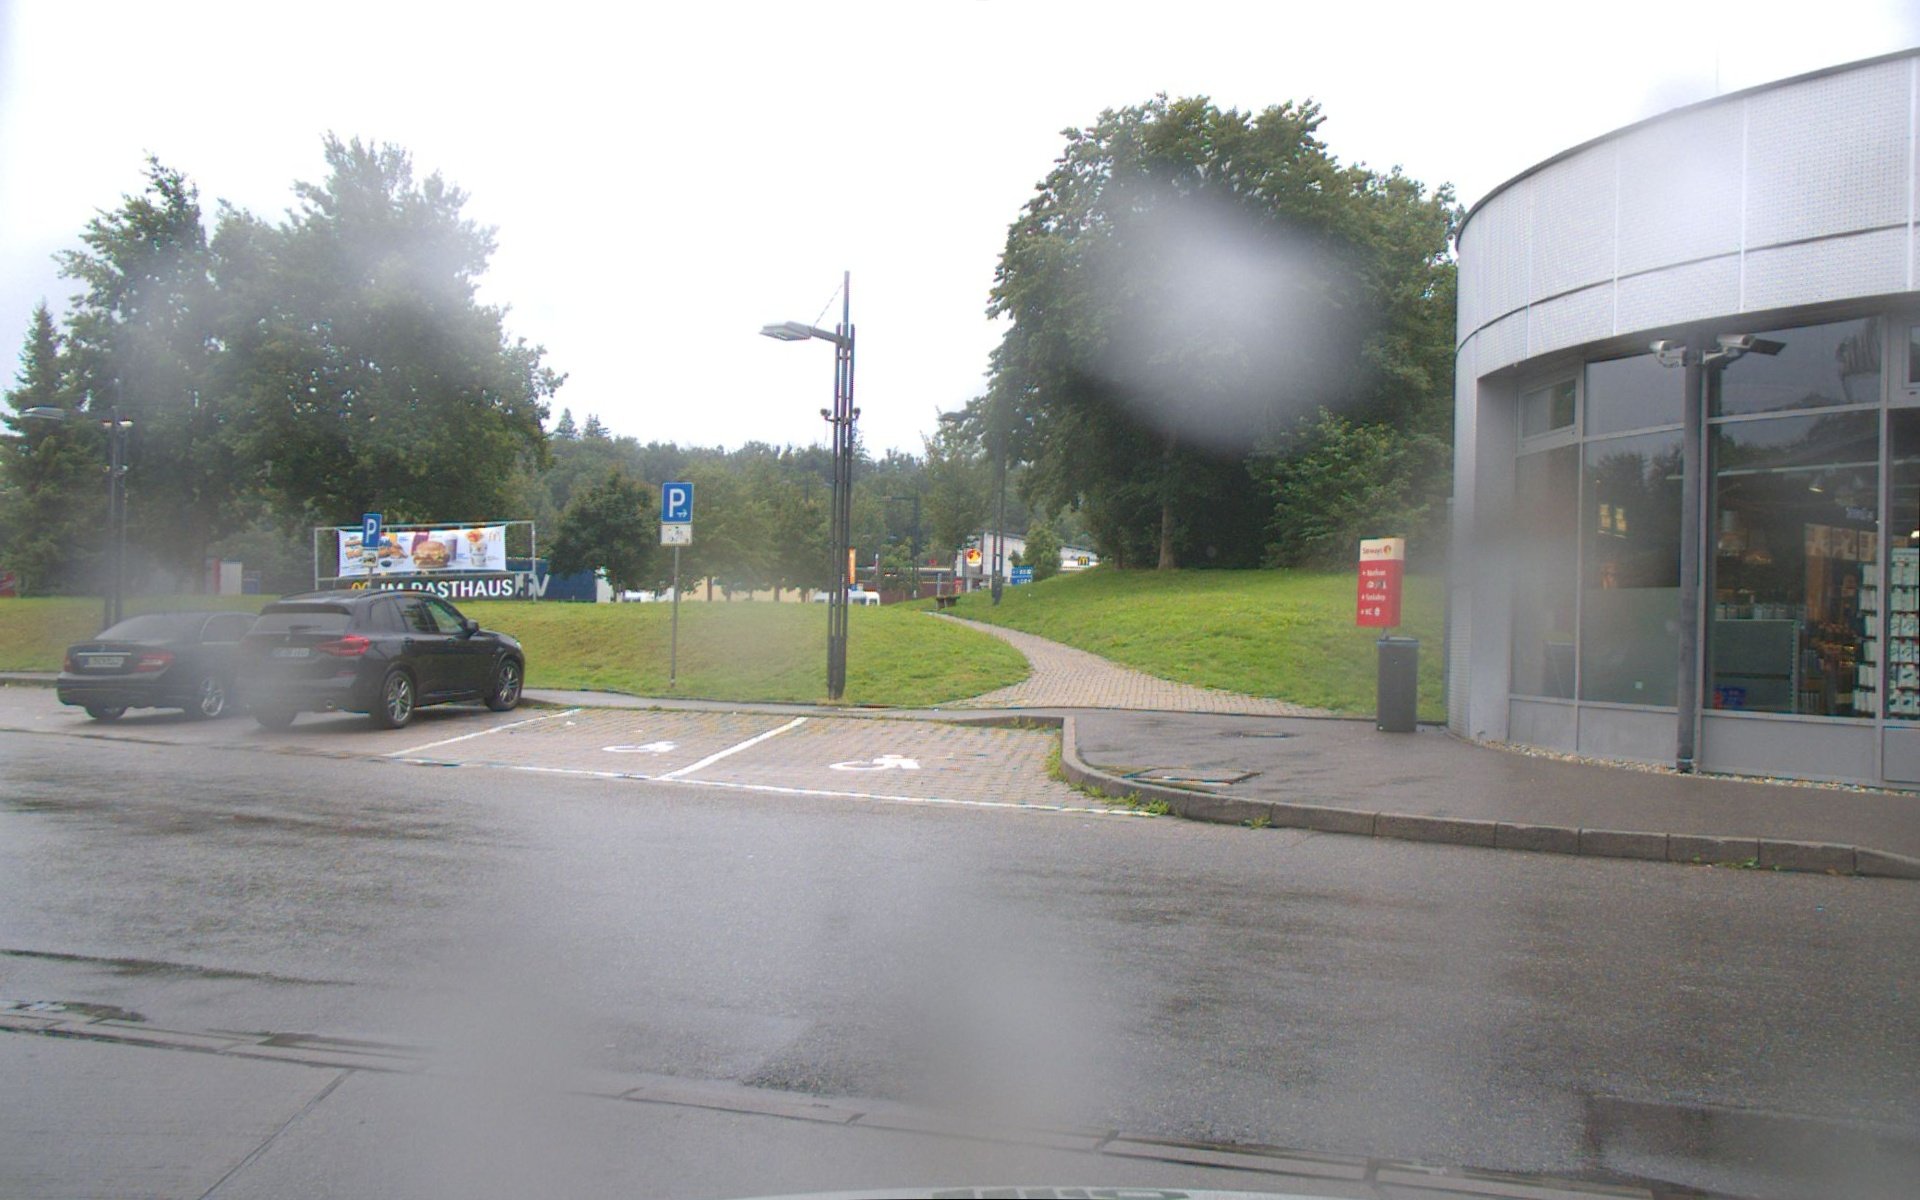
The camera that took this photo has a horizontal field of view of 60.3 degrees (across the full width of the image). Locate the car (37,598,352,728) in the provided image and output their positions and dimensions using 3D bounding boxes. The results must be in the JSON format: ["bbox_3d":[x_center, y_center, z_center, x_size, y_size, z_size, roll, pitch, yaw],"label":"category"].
[{"bbox_3d":[-10.357,0.785,22.764,1.844,1.592,4.189,0,0,11],"label":"car"}]

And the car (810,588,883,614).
[{"bbox_3d":[-9.161,0.070,133.634,5.310,2.049,2.456,1,0,19],"label":"car"}]

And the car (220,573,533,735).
[{"bbox_3d":[-7.332,0.612,21.325,1.844,1.860,4.417,0,0,11],"label":"car"}]
